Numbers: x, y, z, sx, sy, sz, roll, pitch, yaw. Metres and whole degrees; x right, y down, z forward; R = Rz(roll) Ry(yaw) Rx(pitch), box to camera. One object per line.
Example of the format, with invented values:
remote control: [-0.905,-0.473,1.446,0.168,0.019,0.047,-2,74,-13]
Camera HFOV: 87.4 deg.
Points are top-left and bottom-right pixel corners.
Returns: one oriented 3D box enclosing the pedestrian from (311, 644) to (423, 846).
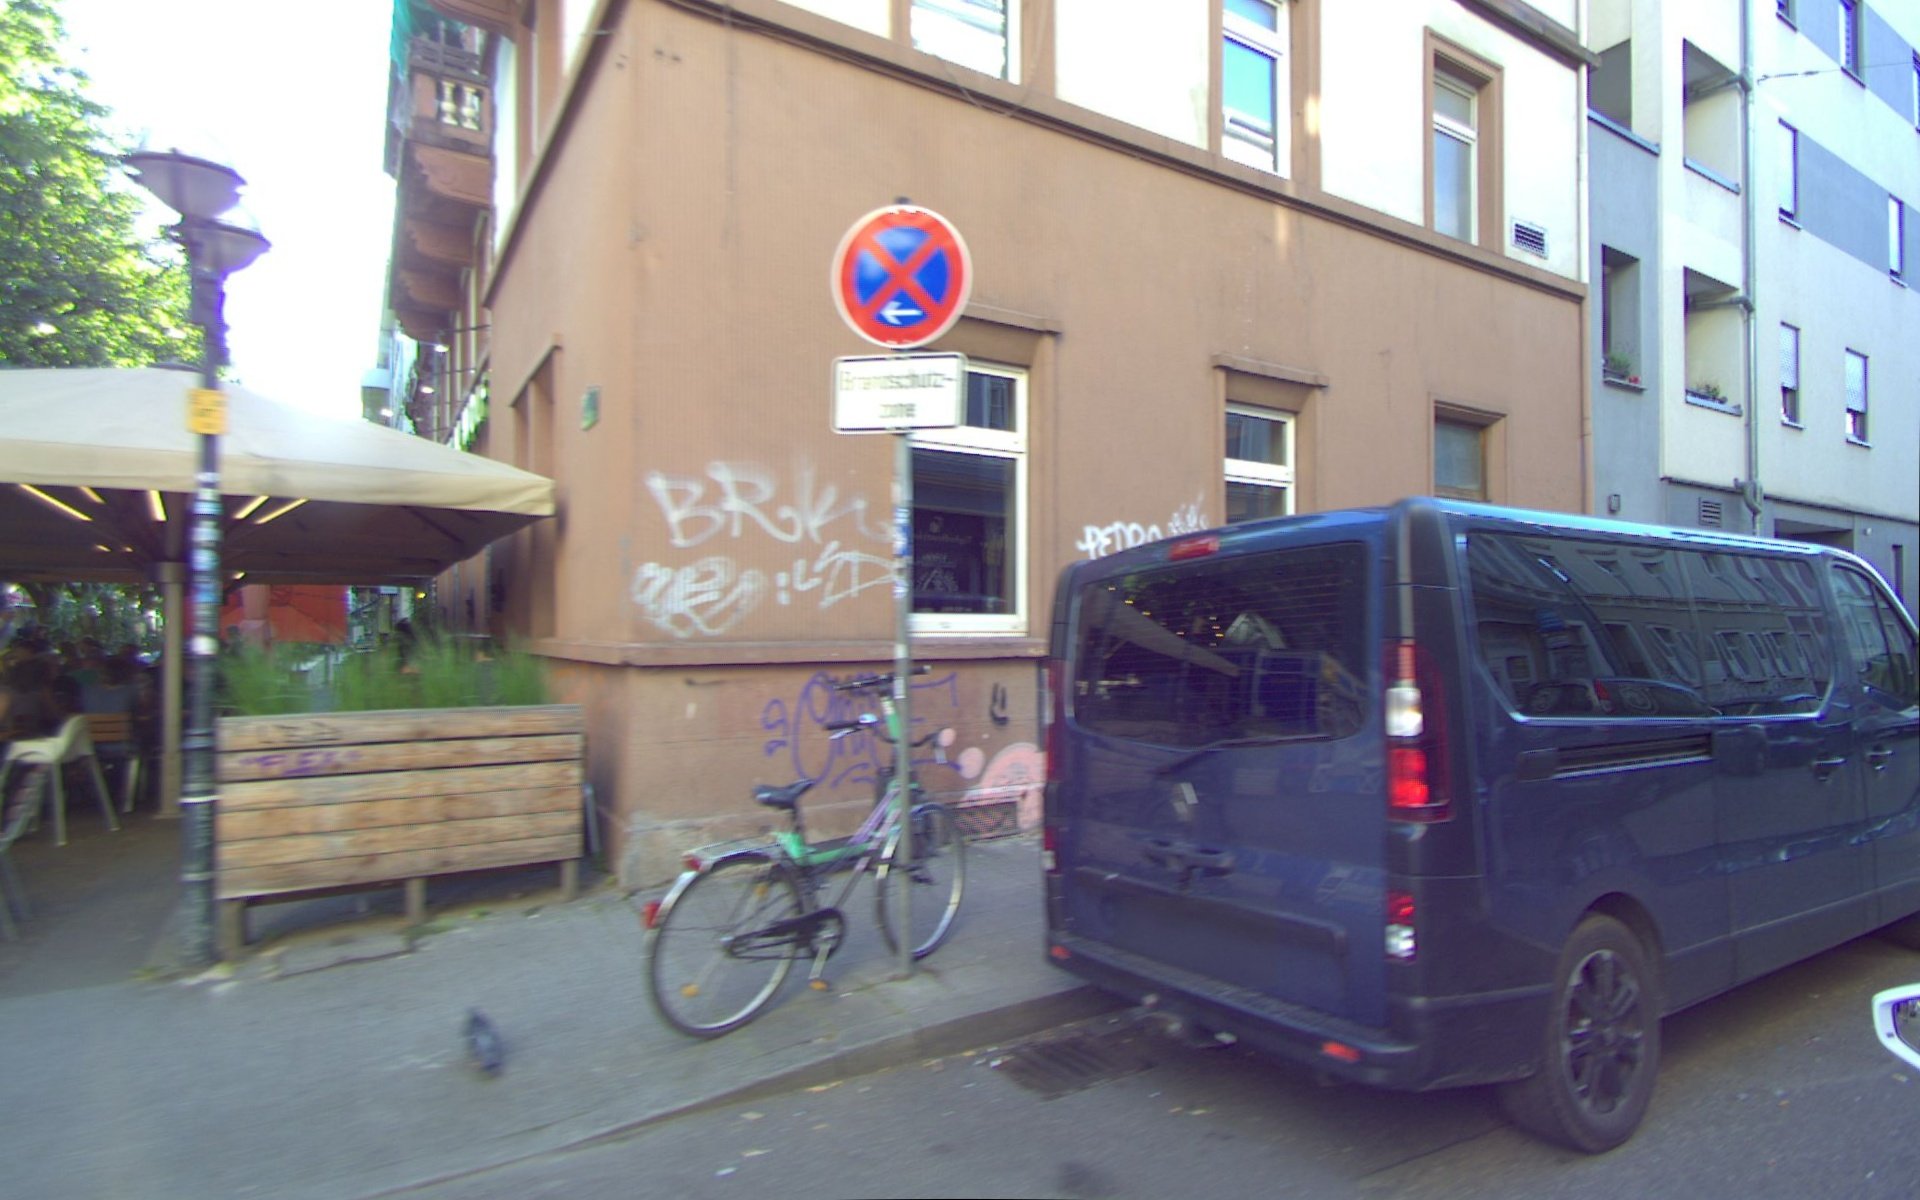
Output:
pedestrian: [-4.370,1.021,7.411,0.684,1.379,0.674,0,-1,-32]

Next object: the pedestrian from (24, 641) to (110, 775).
pedestrian: [-9.631,1.144,10.851,0.615,1.380,0.469,0,-1,-32]

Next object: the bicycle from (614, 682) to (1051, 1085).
bicycle: [-0.416,1.013,4.263,0.543,1.232,1.979,0,-1,40]

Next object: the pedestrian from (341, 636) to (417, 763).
pedestrian: [-6.783,1.132,11.725,0.741,1.410,0.674,0,-1,-32]

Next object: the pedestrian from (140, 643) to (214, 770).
pedestrian: [-8.885,1.188,11.415,0.615,1.380,0.469,0,-1,-32]

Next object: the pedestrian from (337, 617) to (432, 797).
pedestrian: [-5.371,0.963,9.378,0.741,1.582,0.674,0,-1,-32]

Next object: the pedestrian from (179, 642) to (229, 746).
pedestrian: [-10.321,1.266,13.724,0.496,1.380,0.469,0,-1,-32]

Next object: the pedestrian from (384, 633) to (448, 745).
pedestrian: [-6.872,1.097,12.678,0.670,1.359,0.674,0,-1,-32]

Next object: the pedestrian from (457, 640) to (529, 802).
pedestrian: [-3.711,0.942,7.973,0.416,1.202,0.440,3,2,-32]

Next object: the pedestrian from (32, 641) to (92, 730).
pedestrian: [-13.959,1.314,15.628,0.615,1.341,0.469,0,-1,-32]

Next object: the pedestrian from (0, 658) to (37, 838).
pedestrian: [-7.350,1.089,7.470,0.583,1.283,0.642,1,-1,-33]

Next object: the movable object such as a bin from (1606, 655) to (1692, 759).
movable object such as a bin: [7.632,1.169,11.153,0.716,1.081,0.506,1,-1,27]

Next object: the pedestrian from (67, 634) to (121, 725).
pedestrian: [-14.735,1.338,17.105,0.615,1.504,0.469,0,-1,-32]

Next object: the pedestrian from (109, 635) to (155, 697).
pedestrian: [-18.489,1.462,22.440,0.718,1.351,0.469,0,-1,-32]

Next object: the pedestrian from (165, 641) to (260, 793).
pedestrian: [-7.072,1.080,9.536,0.670,1.359,0.555,0,-1,-32]

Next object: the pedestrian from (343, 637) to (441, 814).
pedestrian: [-4.721,1.000,8.343,0.684,1.379,0.614,0,-1,-32]

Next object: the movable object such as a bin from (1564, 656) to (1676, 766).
movable object such as a bin: [6.947,1.147,10.596,0.640,1.081,0.760,1,-1,-12]

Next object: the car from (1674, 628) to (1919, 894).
car: [7.028,1.020,7.190,3.826,1.541,1.742,2,-5,-32]

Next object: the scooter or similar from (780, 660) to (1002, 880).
scooter or similar: [-0.404,1.001,6.261,1.377,1.232,0.345,2,-1,-33]

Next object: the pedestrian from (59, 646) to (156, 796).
pedestrian: [-8.008,1.112,9.461,0.615,1.337,0.510,0,-1,-32]

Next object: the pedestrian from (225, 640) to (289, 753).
pedestrian: [-8.643,1.170,12.358,0.615,1.336,0.469,0,-1,-32]

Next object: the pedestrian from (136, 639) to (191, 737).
pedestrian: [-12.261,1.331,15.474,0.615,1.458,0.469,0,-1,-32]

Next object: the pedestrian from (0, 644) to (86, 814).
pedestrian: [-7.791,1.058,8.417,0.615,1.359,0.510,0,-1,-32]

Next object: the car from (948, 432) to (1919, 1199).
car: [2.697,0.593,4.566,5.235,1.904,2.010,1,-1,-31]

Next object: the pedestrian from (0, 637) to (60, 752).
pedestrian: [-12.223,1.221,13.118,0.615,1.458,0.469,0,-1,-32]

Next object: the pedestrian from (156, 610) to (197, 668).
pedestrian: [-18.604,0.925,23.864,0.718,1.351,0.469,0,-1,-32]
